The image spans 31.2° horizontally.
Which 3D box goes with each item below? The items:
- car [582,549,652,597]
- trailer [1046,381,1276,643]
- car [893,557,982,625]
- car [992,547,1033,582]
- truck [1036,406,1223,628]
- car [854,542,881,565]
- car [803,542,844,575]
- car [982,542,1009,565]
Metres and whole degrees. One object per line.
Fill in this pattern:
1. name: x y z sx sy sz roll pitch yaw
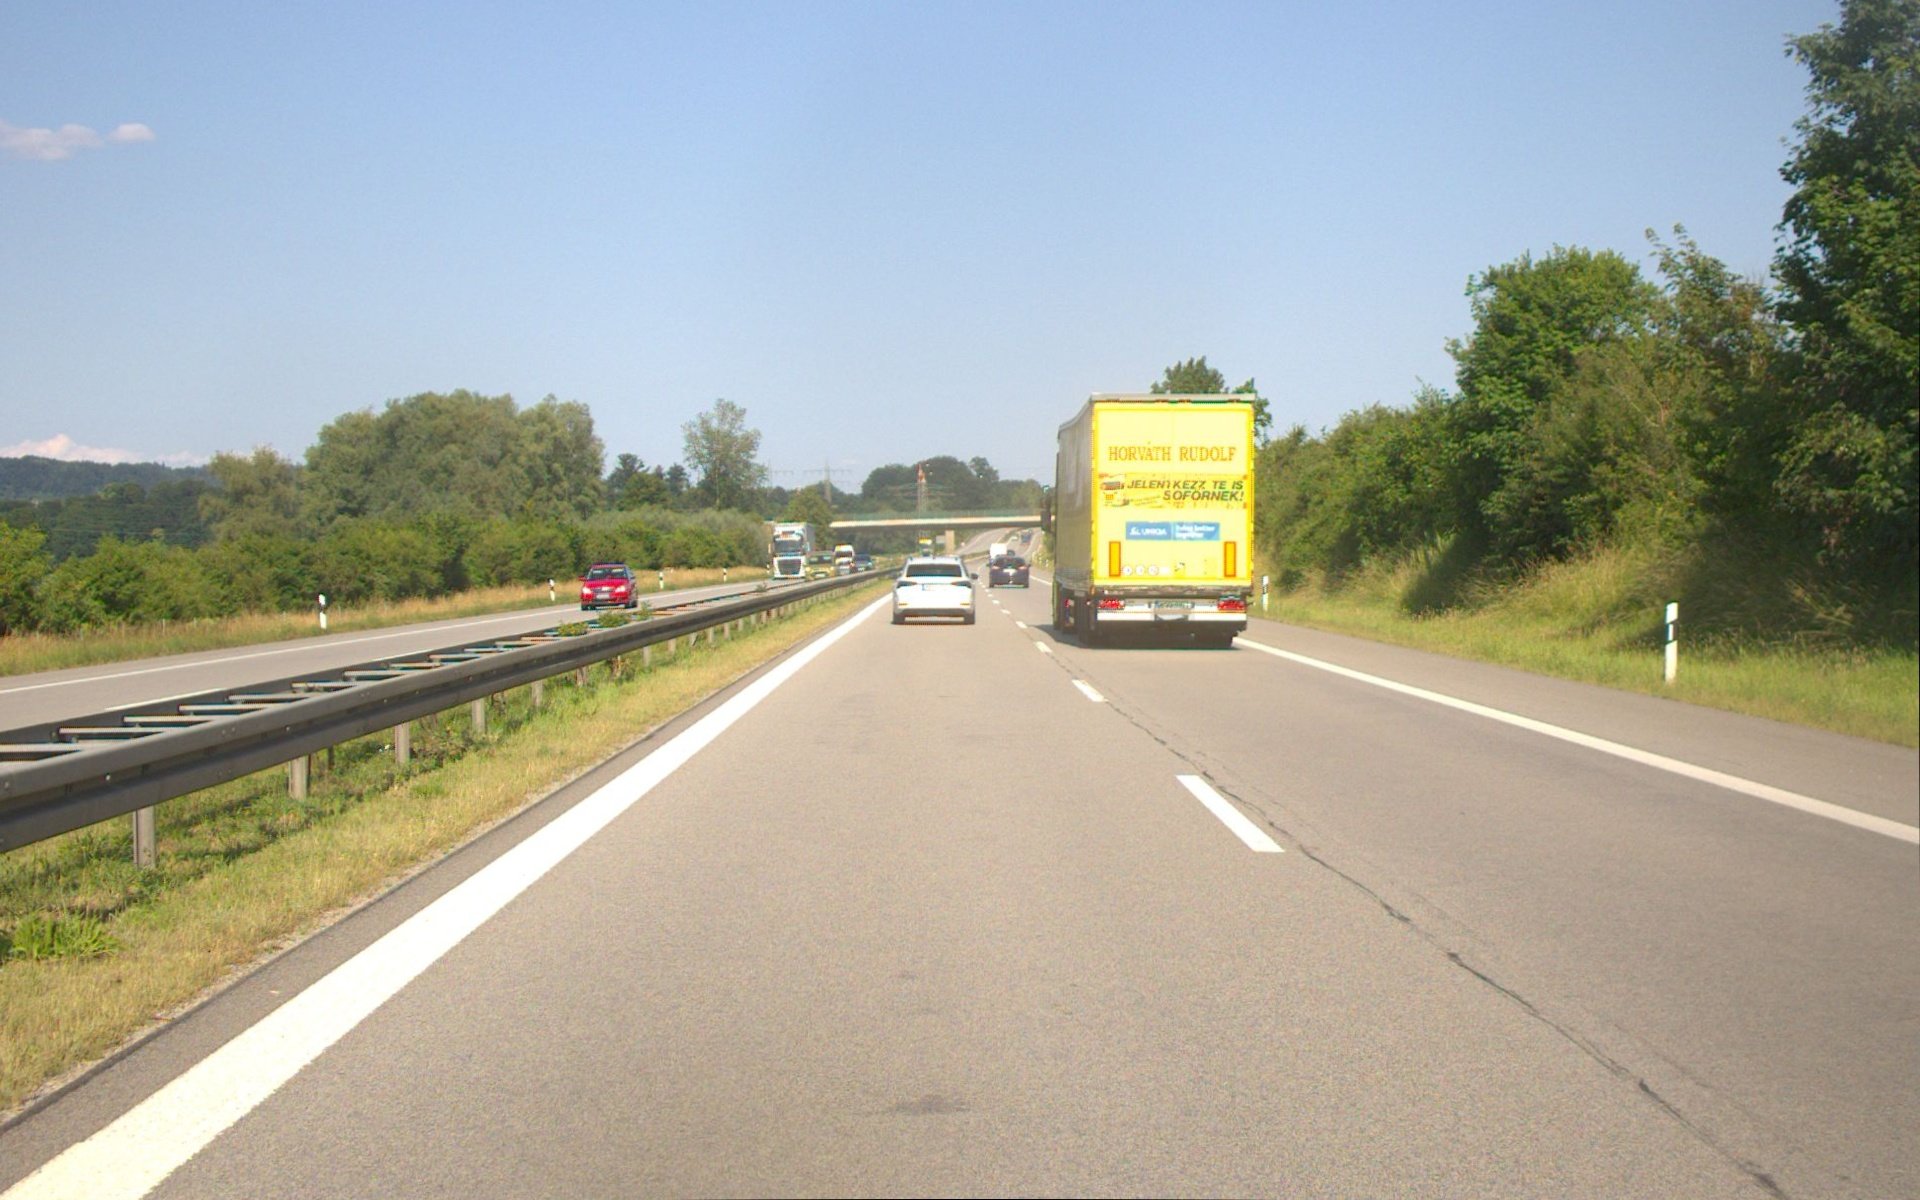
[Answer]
1. car: -11.398 -0.913 114.388 1.730 1.506 4.479 -3 1 1
2. trailer: 3.308 -1.463 60.318 3.184 4.045 13.187 1 1 0
3. car: -0.468 -0.217 74.586 1.843 1.411 4.000 1 1 1
4. car: 2.395 -1.635 157.694 1.843 1.515 4.000 1 1 1
5. truck: 3.242 -1.587 67.458 3.168 4.100 6.389 1 1 -1
6. car: -6.912 -3.457 256.773 1.725 1.577 4.767 -4 1 1
7. car: -7.720 -2.342 195.360 1.950 1.765 4.748 -2 1 2
8. car: 2.700 -3.554 260.992 1.902 1.677 4.731 2 1 -1
